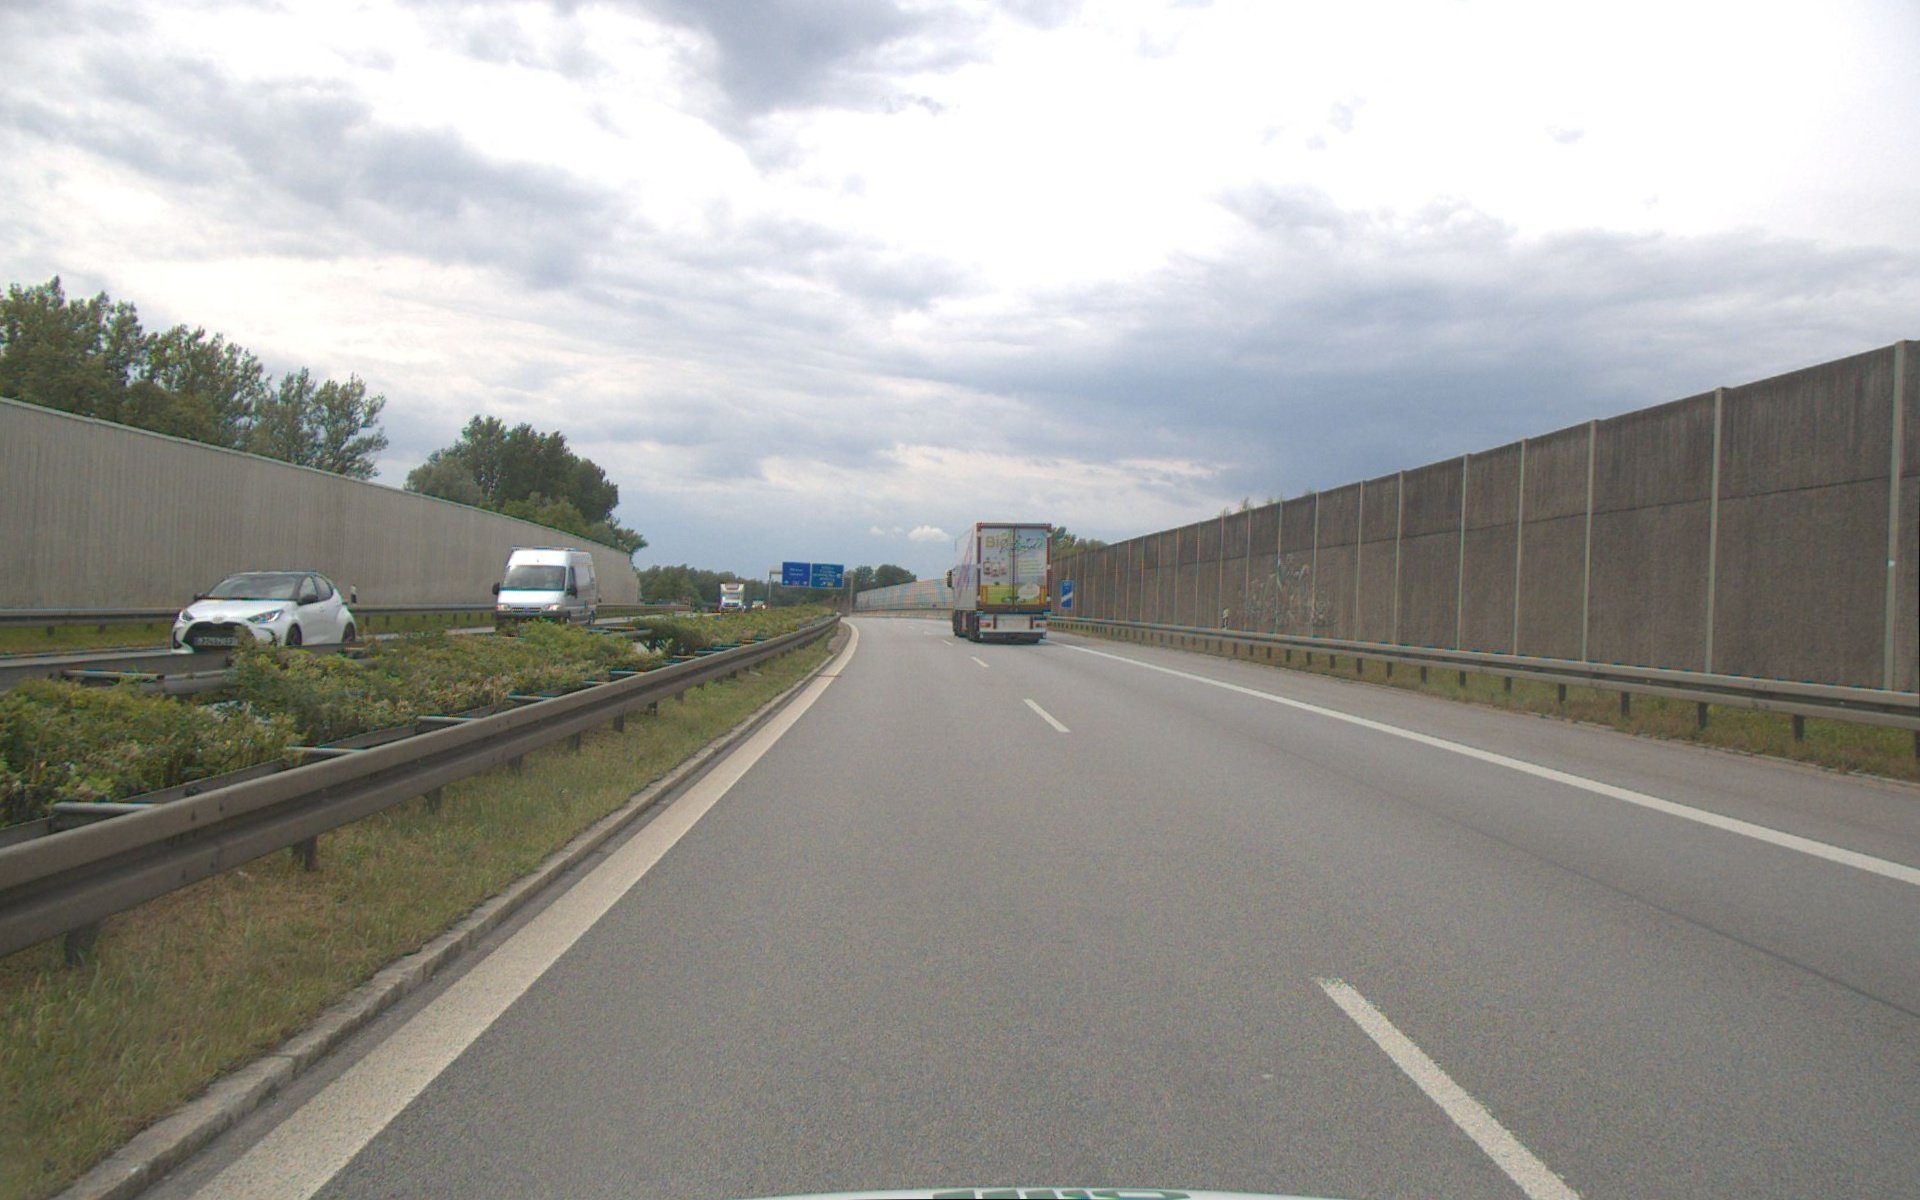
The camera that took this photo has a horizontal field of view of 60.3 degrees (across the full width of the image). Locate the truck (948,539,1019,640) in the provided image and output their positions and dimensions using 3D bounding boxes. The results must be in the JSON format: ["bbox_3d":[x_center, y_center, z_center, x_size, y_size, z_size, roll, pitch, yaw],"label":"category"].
[{"bbox_3d":[0.936,-0.407,69.138,2.700,4.029,5.675,1,0,-2],"label":"truck"}]

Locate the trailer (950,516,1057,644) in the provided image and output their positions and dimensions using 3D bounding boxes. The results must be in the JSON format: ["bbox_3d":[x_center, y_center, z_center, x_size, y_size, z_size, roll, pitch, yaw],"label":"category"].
[{"bbox_3d":[1.418,-0.629,62.224,2.737,4.248,14.092,1,0,-4],"label":"trailer"}]

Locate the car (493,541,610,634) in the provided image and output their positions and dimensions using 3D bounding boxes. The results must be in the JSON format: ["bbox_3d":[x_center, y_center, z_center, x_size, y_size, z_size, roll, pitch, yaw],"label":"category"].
[{"bbox_3d":[-11.560,-0.356,47.206,2.069,2.498,5.681,0,0,-2],"label":"car"}]

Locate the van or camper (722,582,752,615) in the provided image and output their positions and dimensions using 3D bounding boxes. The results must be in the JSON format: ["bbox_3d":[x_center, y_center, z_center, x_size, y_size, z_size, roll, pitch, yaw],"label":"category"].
[{"bbox_3d":[-19.680,-0.147,146.223,2.210,2.828,5.750,1,0,-5],"label":"van or camper"}]

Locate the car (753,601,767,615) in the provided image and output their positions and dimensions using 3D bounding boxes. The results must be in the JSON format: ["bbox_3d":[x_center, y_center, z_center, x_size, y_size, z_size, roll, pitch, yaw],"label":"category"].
[{"bbox_3d":[-29.609,1.187,244.489,1.955,1.919,4.549,1,0,-6],"label":"car"}]

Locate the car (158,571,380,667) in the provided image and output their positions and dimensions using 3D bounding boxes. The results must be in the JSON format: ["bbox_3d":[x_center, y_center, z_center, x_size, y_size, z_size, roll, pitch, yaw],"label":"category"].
[{"bbox_3d":[-11.091,0.277,26.914,1.827,1.427,4.498,0,0,-2],"label":"car"}]
